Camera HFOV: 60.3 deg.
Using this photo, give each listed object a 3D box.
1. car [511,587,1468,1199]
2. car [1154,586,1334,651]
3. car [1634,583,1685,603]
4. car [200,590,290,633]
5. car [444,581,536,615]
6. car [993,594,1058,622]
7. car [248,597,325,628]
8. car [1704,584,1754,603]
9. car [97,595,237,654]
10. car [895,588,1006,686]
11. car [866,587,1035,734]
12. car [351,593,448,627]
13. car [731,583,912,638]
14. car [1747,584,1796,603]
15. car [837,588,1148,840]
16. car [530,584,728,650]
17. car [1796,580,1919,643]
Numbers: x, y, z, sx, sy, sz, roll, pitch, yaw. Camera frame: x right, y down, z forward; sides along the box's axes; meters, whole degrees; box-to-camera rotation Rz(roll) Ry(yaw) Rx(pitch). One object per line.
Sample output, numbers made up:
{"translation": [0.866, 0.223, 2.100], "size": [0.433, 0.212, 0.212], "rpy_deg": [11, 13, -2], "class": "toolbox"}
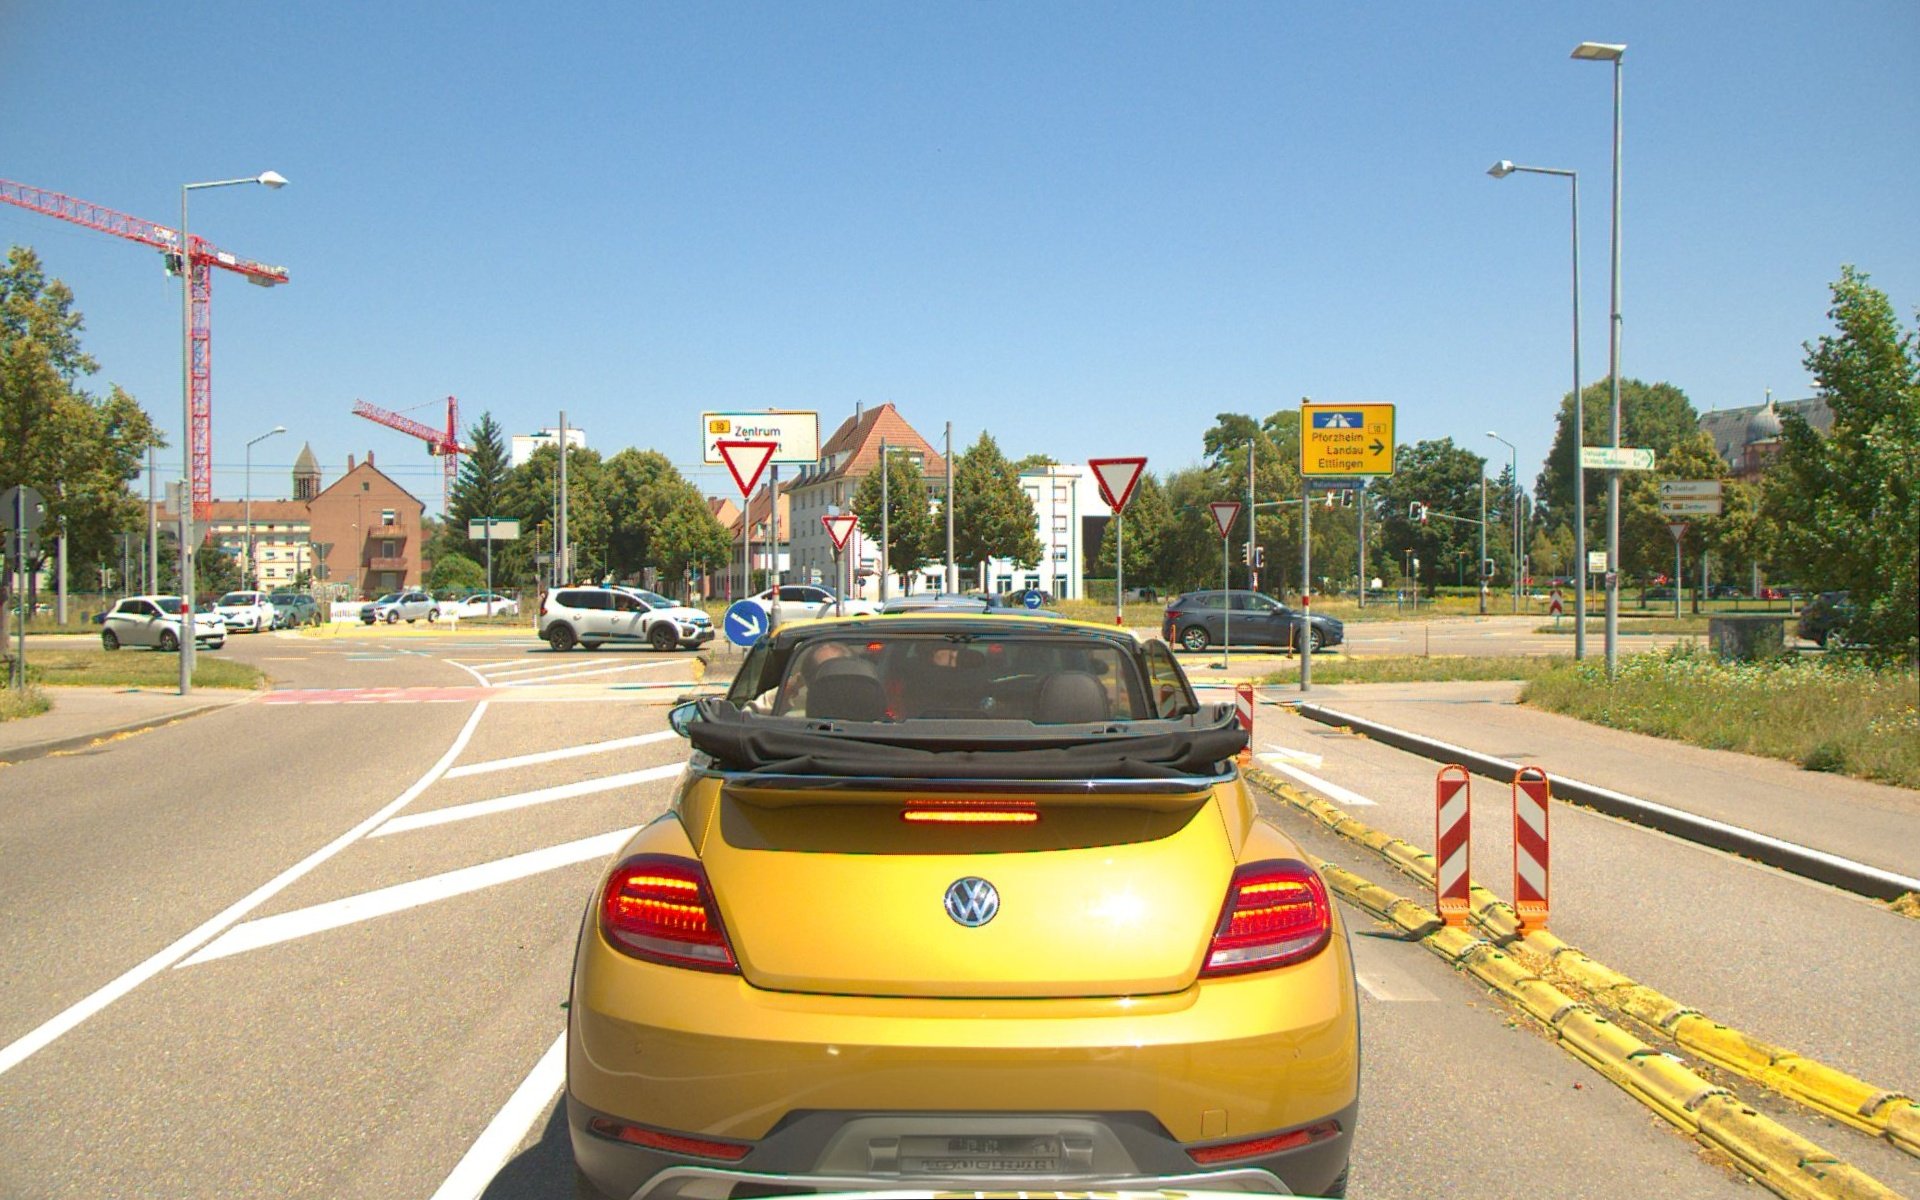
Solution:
{"translation": [0.027, 0.698, 4.862], "size": [1.717, 1.447, 3.776], "rpy_deg": [0, 0, -1], "class": "car"}
{"translation": [6.697, 0.420, 39.344], "size": [4.115, 1.467, 2.002], "rpy_deg": [0, 0, 7], "class": "car"}
{"translation": [63.859, -0.648, 150.972], "size": [3.923, 1.744, 1.991], "rpy_deg": [0, 0, -17], "class": "car"}
{"translation": [-27.003, 0.402, 62.587], "size": [1.720, 1.576, 3.999], "rpy_deg": [0, 0, -1], "class": "car"}
{"translation": [-26.284, -0.087, 92.548], "size": [4.633, 1.860, 1.975], "rpy_deg": [0, 0, -36], "class": "car"}
{"translation": [4.325, 0.543, 108.313], "size": [4.098, 1.701, 1.950], "rpy_deg": [-1, 0, 6], "class": "car"}
{"translation": [-27.743, 0.500, 68.225], "size": [1.672, 1.258, 3.786], "rpy_deg": [0, 0, -1], "class": "car"}
{"translation": [71.261, -0.620, 153.264], "size": [3.923, 1.744, 1.991], "rpy_deg": [0, 0, -17], "class": "car"}
{"translation": [-22.995, 0.687, 47.947], "size": [3.922, 1.648, 1.678], "rpy_deg": [0, 0, 28], "class": "car"}
{"translation": [-0.177, 0.561, 27.459], "size": [1.701, 1.503, 3.999], "rpy_deg": [0, 0, -1], "class": "car"}
{"translation": [-0.121, 0.605, 18.658], "size": [1.701, 1.467, 3.999], "rpy_deg": [0, 0, -1], "class": "car"}
{"translation": [-26.364, 0.466, 77.922], "size": [1.676, 1.526, 4.210], "rpy_deg": [0, 0, 32], "class": "car"}
{"translation": [-4.011, 0.280, 48.246], "size": [4.884, 1.536, 2.002], "rpy_deg": [0, 0, 11], "class": "car"}
{"translation": [76.429, -0.602, 155.781], "size": [3.926, 1.744, 1.989], "rpy_deg": [0, 0, -19], "class": "car"}
{"translation": [0.164, 0.661, 11.649], "size": [1.810, 1.467, 3.999], "rpy_deg": [0, 0, -1], "class": "car"}
{"translation": [-8.348, 0.415, 41.867], "size": [4.477, 1.593, 2.002], "rpy_deg": [0, 0, 14], "class": "car"}
{"translation": [22.199, 0.267, 39.285], "size": [4.104, 1.467, 1.999], "rpy_deg": [0, 0, 25], "class": "car"}
